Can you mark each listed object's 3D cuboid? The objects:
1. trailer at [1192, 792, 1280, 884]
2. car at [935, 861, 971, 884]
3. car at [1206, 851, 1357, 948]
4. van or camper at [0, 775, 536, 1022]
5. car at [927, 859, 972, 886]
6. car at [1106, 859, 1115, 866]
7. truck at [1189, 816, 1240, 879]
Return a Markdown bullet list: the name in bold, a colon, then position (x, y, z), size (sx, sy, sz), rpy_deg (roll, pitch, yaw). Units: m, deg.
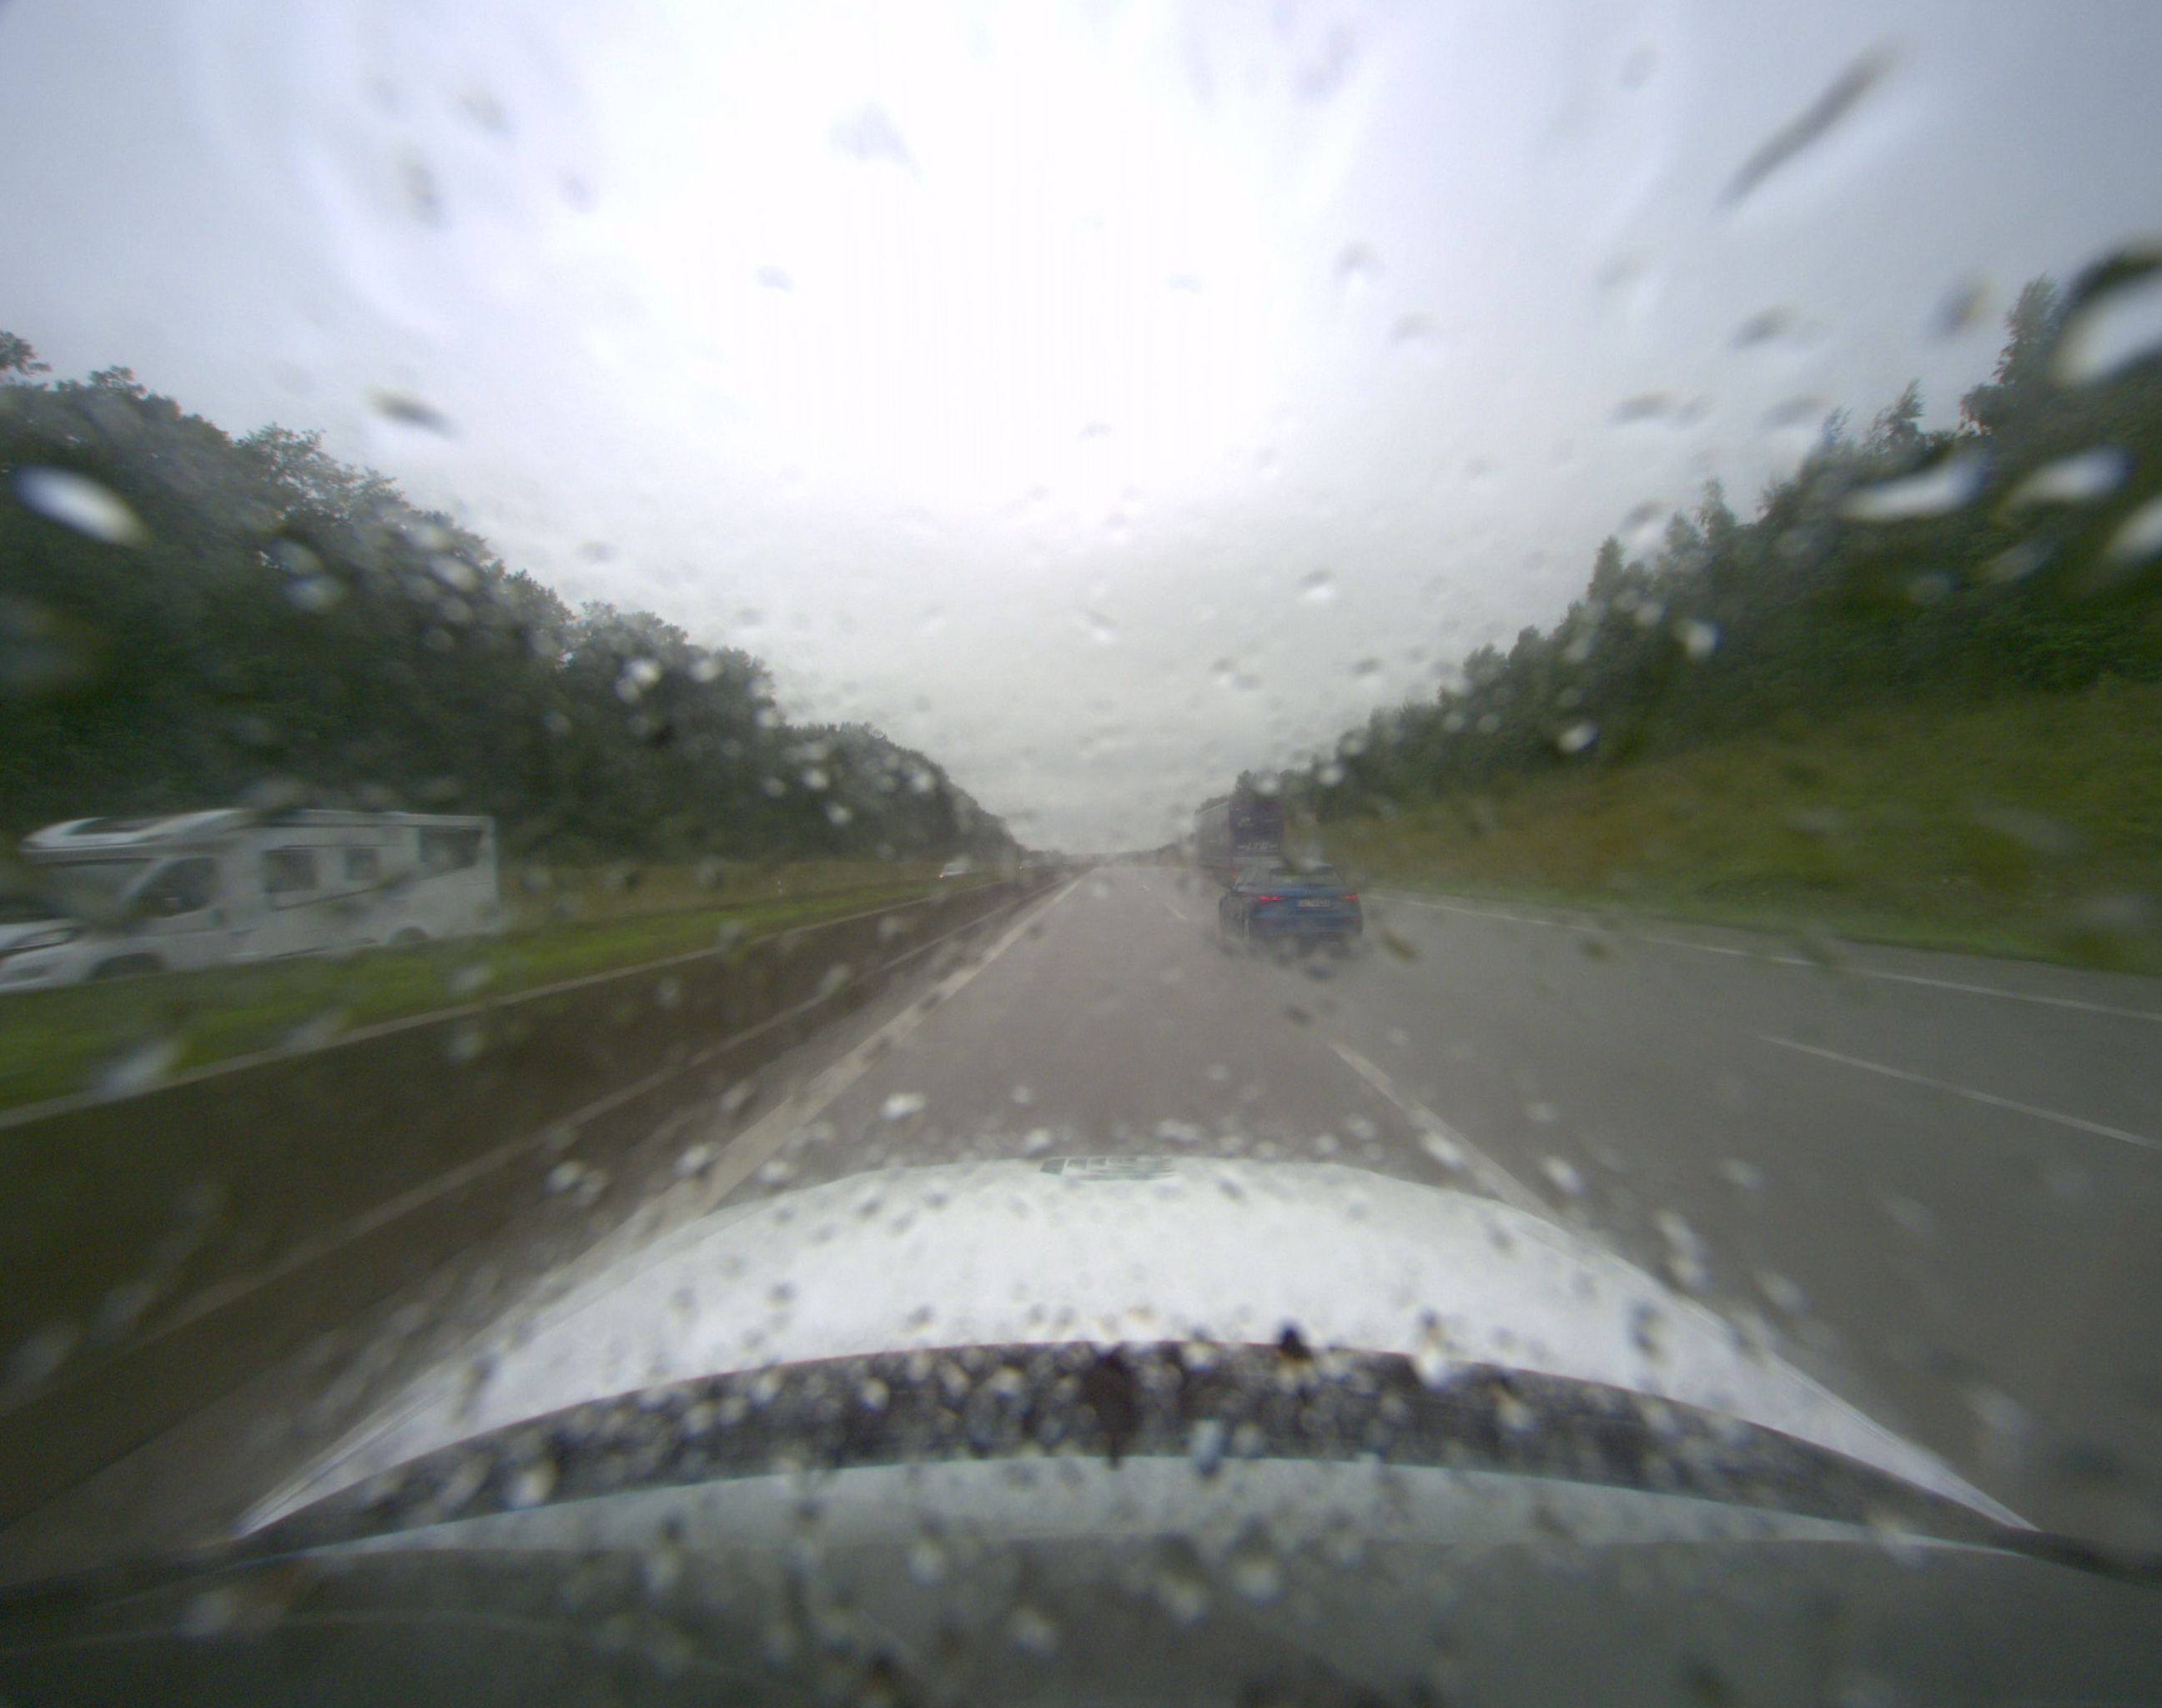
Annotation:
- **trailer**: position (8.440, -0.701, 46.515), size (2.696, 4.379, 15.212), rpy_deg (0, -1, 2)
- **car**: position (-10.036, 1.409, 64.228), size (1.872, 1.665, 4.689), rpy_deg (-3, 0, 2)
- **car**: position (3.486, 0.765, 15.061), size (1.723, 1.459, 4.673), rpy_deg (-2, -1, 2)
- **van or camper**: position (-12.626, 0.579, 13.003), size (2.403, 2.736, 7.716), rpy_deg (-3, -1, 2)
- **car**: position (-7.382, 1.013, 45.961), size (1.732, 1.333, 4.101), rpy_deg (-2, 0, 1)
- **car**: position (5.879, 1.658, 164.727), size (1.723, 1.331, 4.431), rpy_deg (-1, 0, 2)
- **truck**: position (8.739, -0.379, 53.855), size (2.626, 3.954, 5.689), rpy_deg (-1, -1, 2)
